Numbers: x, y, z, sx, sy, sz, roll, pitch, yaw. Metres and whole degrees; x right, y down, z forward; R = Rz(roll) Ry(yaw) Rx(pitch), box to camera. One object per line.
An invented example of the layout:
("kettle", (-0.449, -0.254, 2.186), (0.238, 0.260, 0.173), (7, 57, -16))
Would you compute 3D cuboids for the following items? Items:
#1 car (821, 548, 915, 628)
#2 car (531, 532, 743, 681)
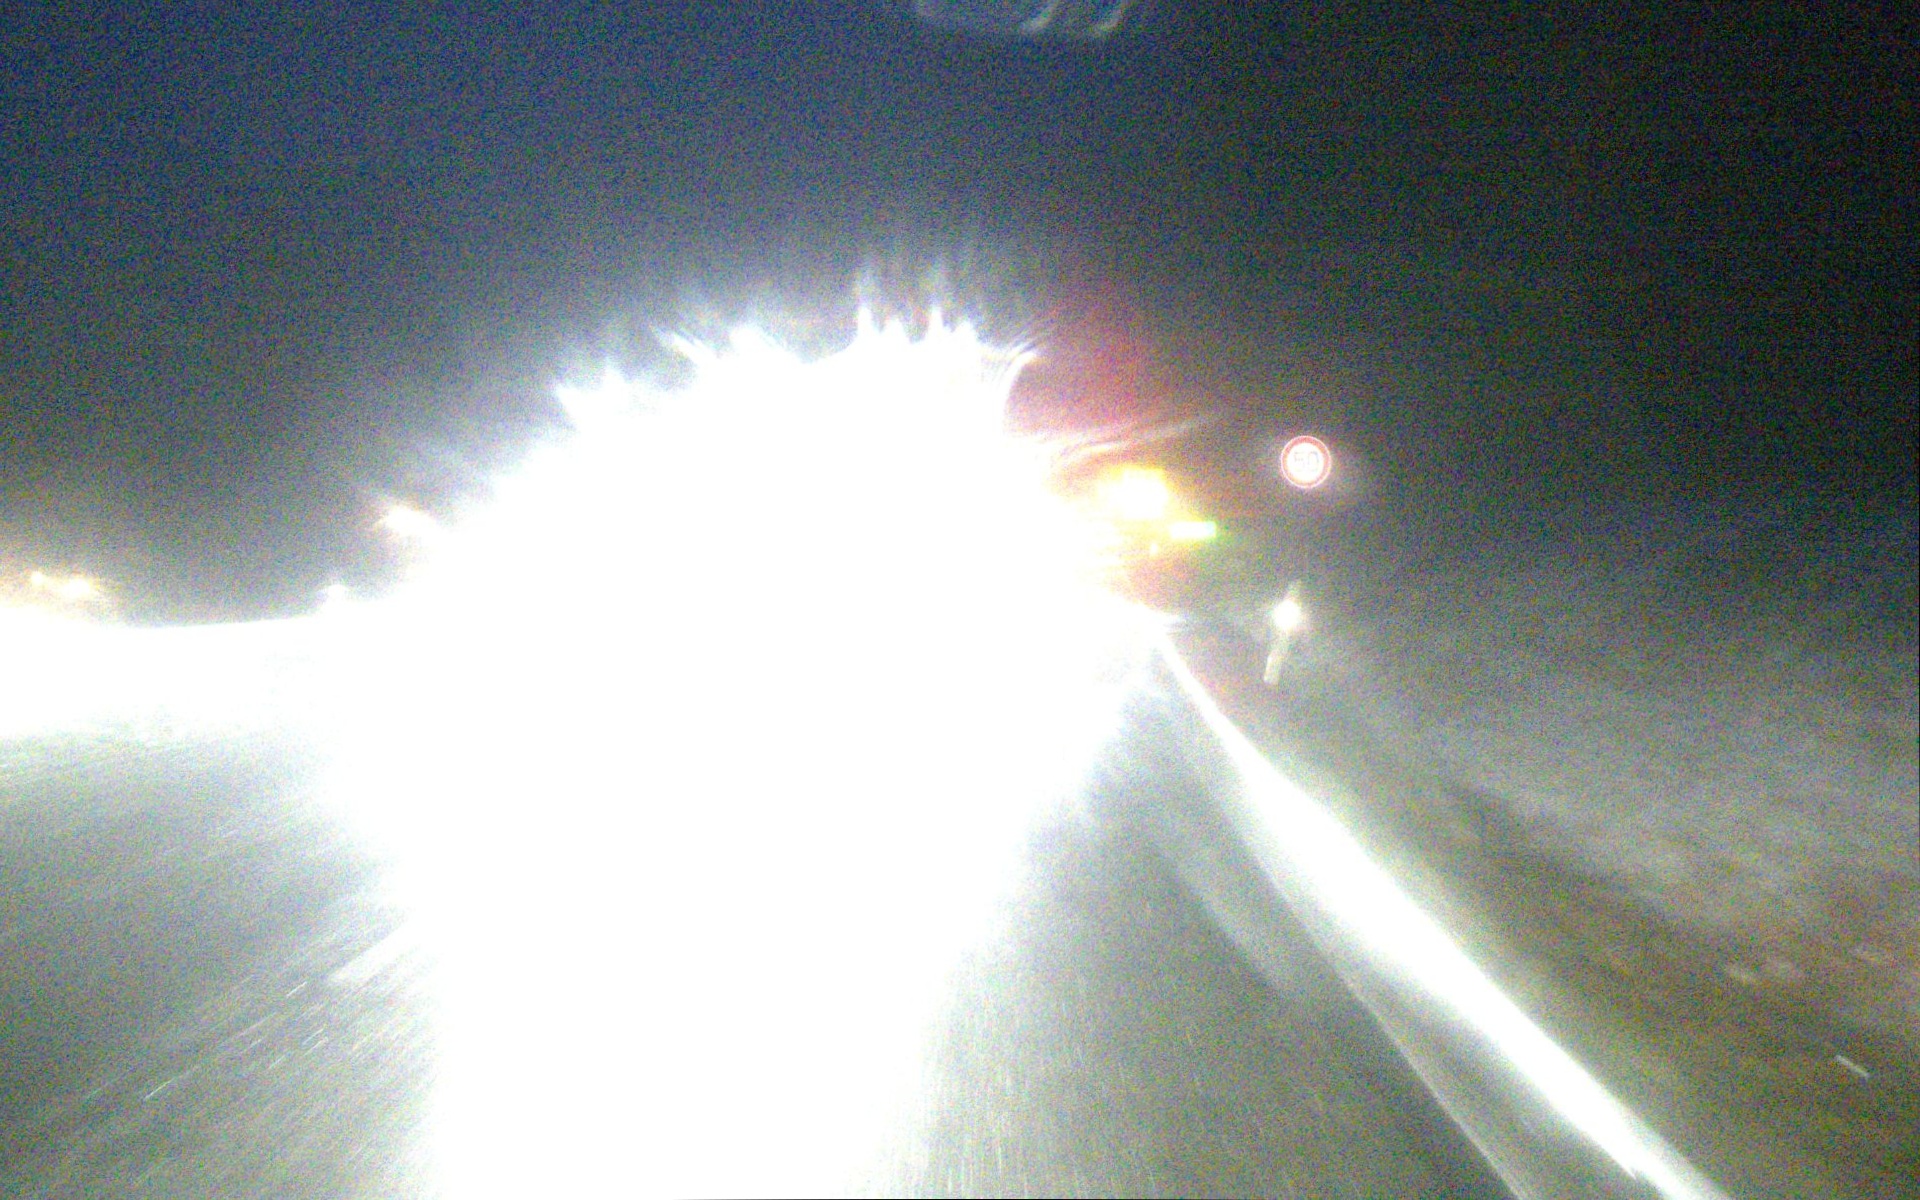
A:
("car", (-1.989, -0.292, 75.395), (1.781, 1.661, 4.472), (0, 1, 2))
("car", (-3.183, 0.024, 34.533), (1.740, 1.397, 3.861), (0, 1, 0))
